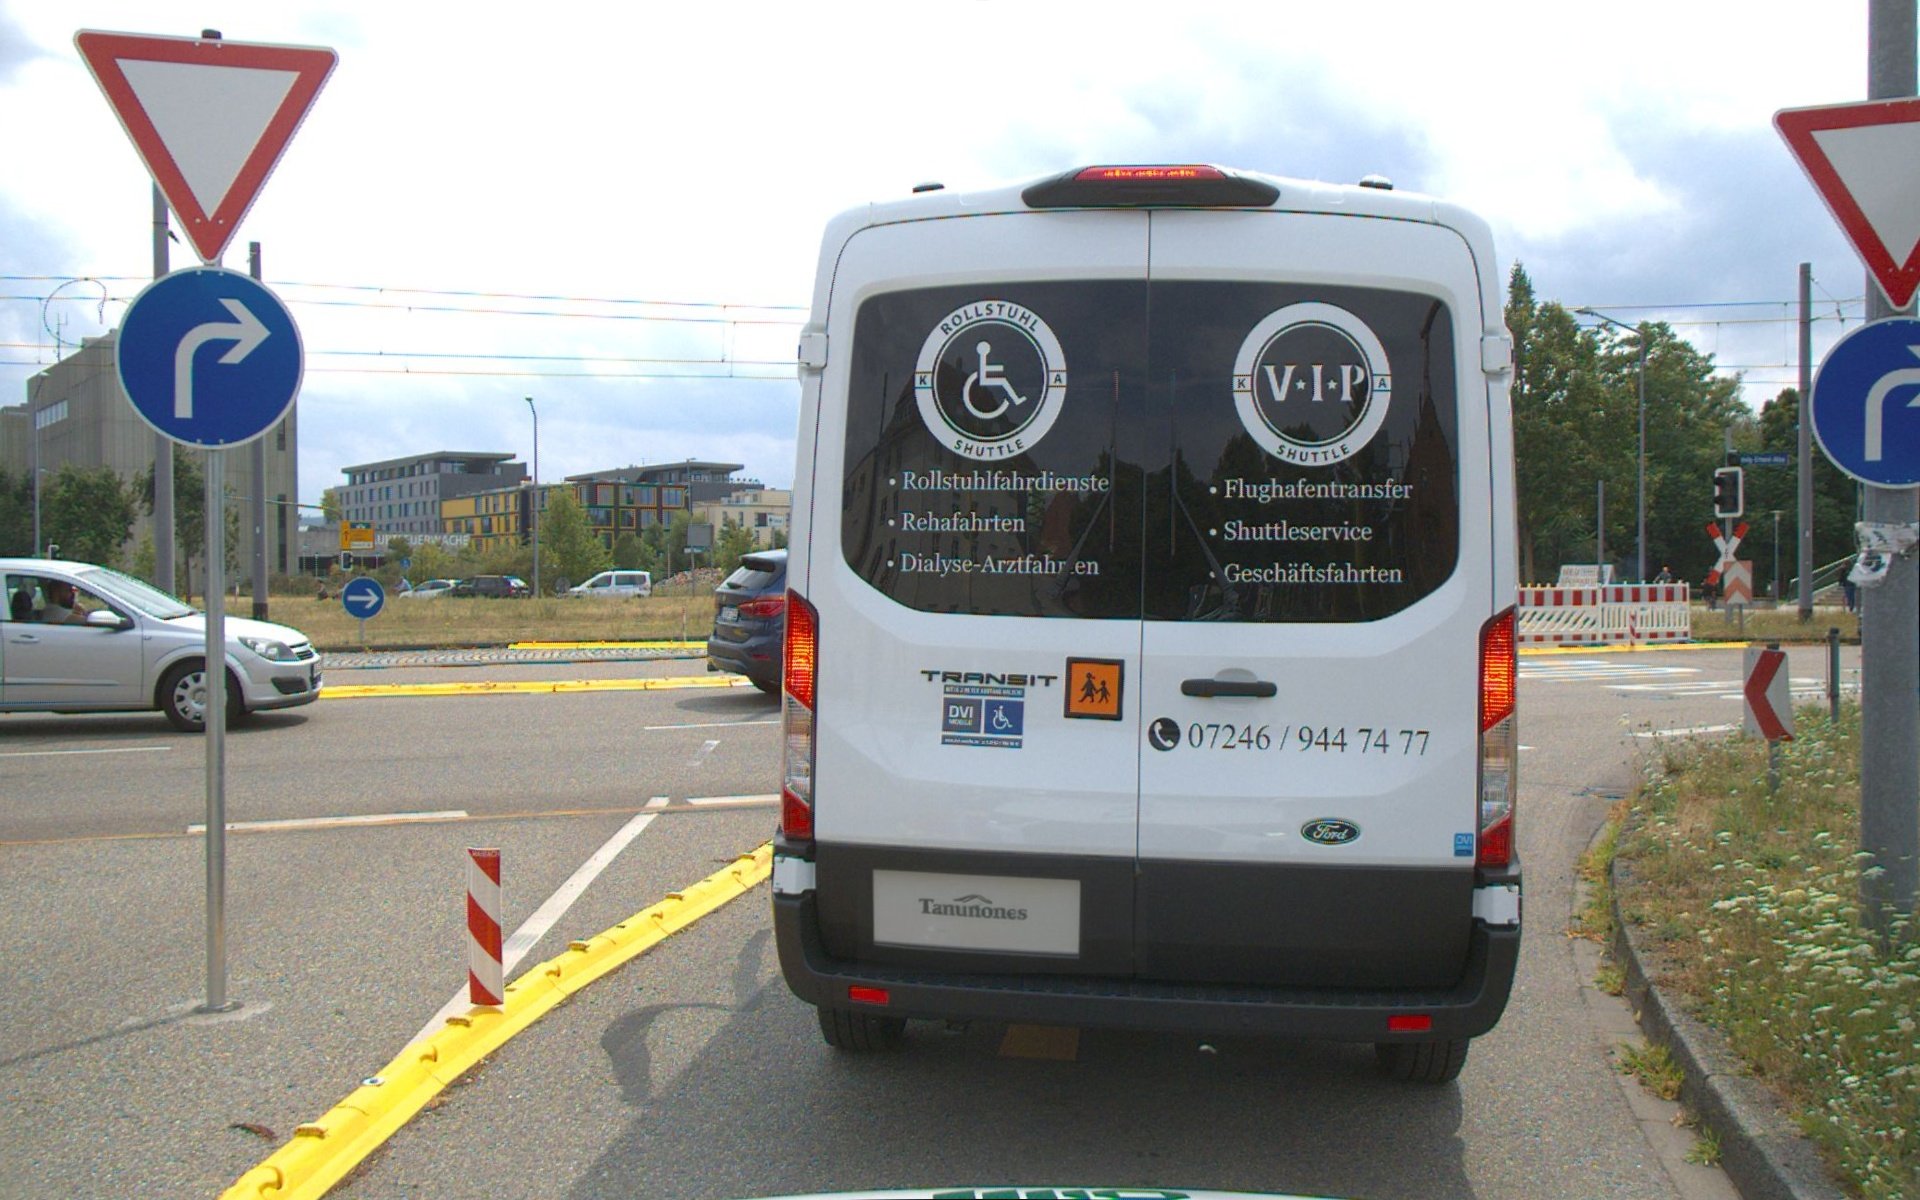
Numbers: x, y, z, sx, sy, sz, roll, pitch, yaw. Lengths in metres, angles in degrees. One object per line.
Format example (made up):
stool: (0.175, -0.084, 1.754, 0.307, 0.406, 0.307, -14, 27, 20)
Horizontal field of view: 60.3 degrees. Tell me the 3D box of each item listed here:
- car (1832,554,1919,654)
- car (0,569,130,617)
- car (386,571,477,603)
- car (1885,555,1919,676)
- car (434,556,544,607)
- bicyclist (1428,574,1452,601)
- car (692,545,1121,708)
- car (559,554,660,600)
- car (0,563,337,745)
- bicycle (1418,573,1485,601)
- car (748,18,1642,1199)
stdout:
car: (16.269, 0.029, 26.267, 4.027, 1.523, 1.798, -1, 1, -9)
car: (-32.964, -0.268, 60.453, 1.904, 1.695, 4.329, 0, 1, 42)
car: (-25.554, -0.623, 80.034, 3.905, 1.489, 1.833, 0, -1, 21)
car: (14.138, 0.172, 21.150, 4.184, 1.523, 1.791, -1, 1, -21)
car: (-19.516, -0.769, 68.579, 3.902, 2.049, 2.001, 0, -1, 14)
bicyclist: (16.728, -0.432, 57.653, 0.645, 0.899, 0.604, 0, -1, 36)
car: (-0.524, 0.208, 17.675, 4.311, 1.560, 1.715, -1, 1, -30)
car: (-16.297, -1.049, 76.855, 4.288, 2.049, 1.986, 1, -1, -23)
car: (-7.848, 0.433, 14.568, 4.172, 1.488, 1.825, -1, 1, -13)
bicycle: (17.054, -0.456, 57.411, 2.161, 0.954, 0.611, 0, -1, 37)
car: (0.754, -0.003, 6.717, 2.081, 2.744, 5.635, 0, 1, 4)
